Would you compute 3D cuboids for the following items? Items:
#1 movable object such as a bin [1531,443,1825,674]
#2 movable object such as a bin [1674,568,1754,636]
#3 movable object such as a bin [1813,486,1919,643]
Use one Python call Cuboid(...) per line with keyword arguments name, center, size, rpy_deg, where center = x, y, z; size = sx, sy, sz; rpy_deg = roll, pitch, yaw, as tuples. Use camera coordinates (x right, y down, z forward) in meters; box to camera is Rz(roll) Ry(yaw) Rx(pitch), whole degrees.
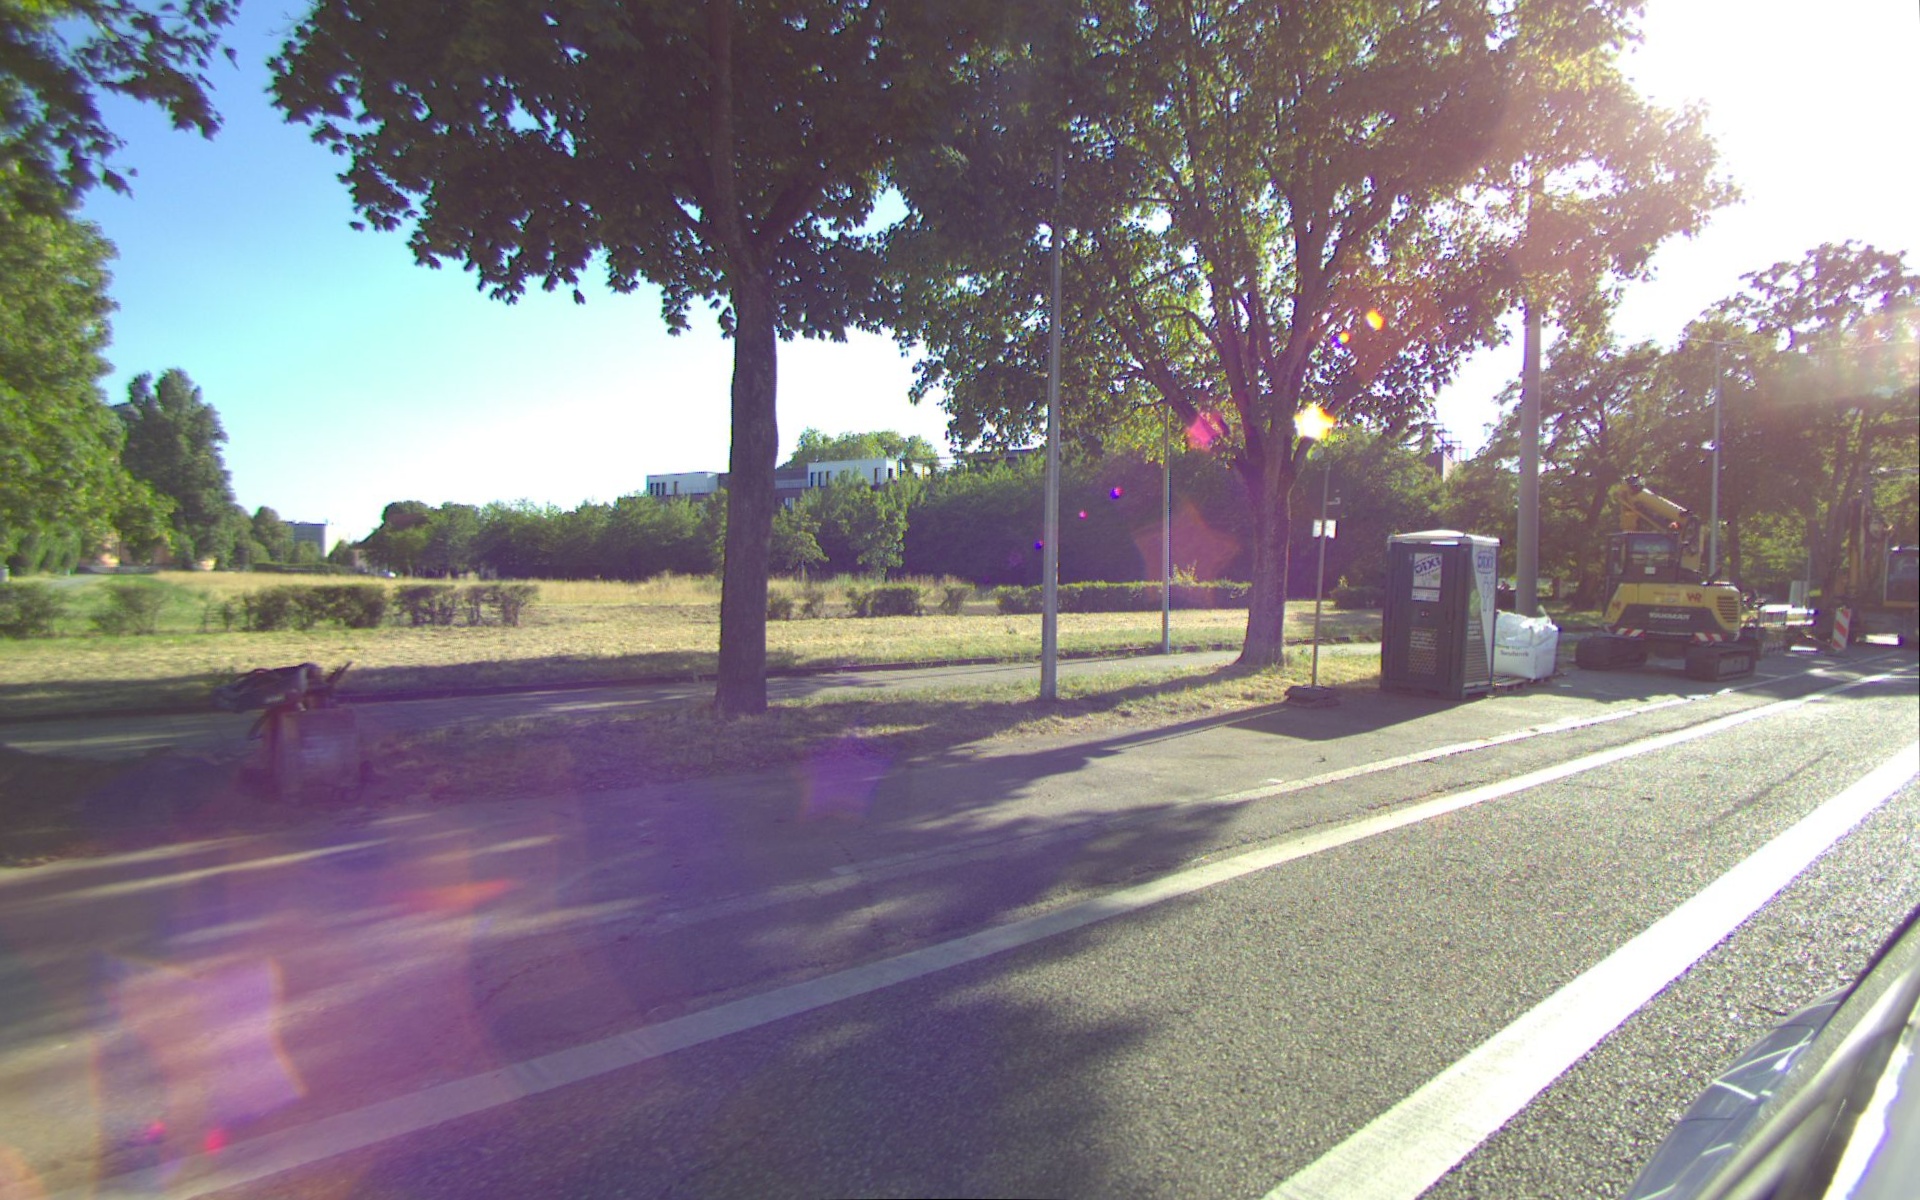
Cuboid(name="movable object such as a bin", center=(15.338, -0.861, 21.370), size=(7.469, 4.024, 3.345), rpy_deg=(0, 4, -42))
Cuboid(name="movable object such as a bin", center=(21.068, 0.036, 28.285), size=(1.278, 1.687, 1.323), rpy_deg=(0, 7, -37))
Cuboid(name="movable object such as a bin", center=(30.813, -1.157, 33.361), size=(7.469, 4.666, 2.920), rpy_deg=(0, 4, -42))
